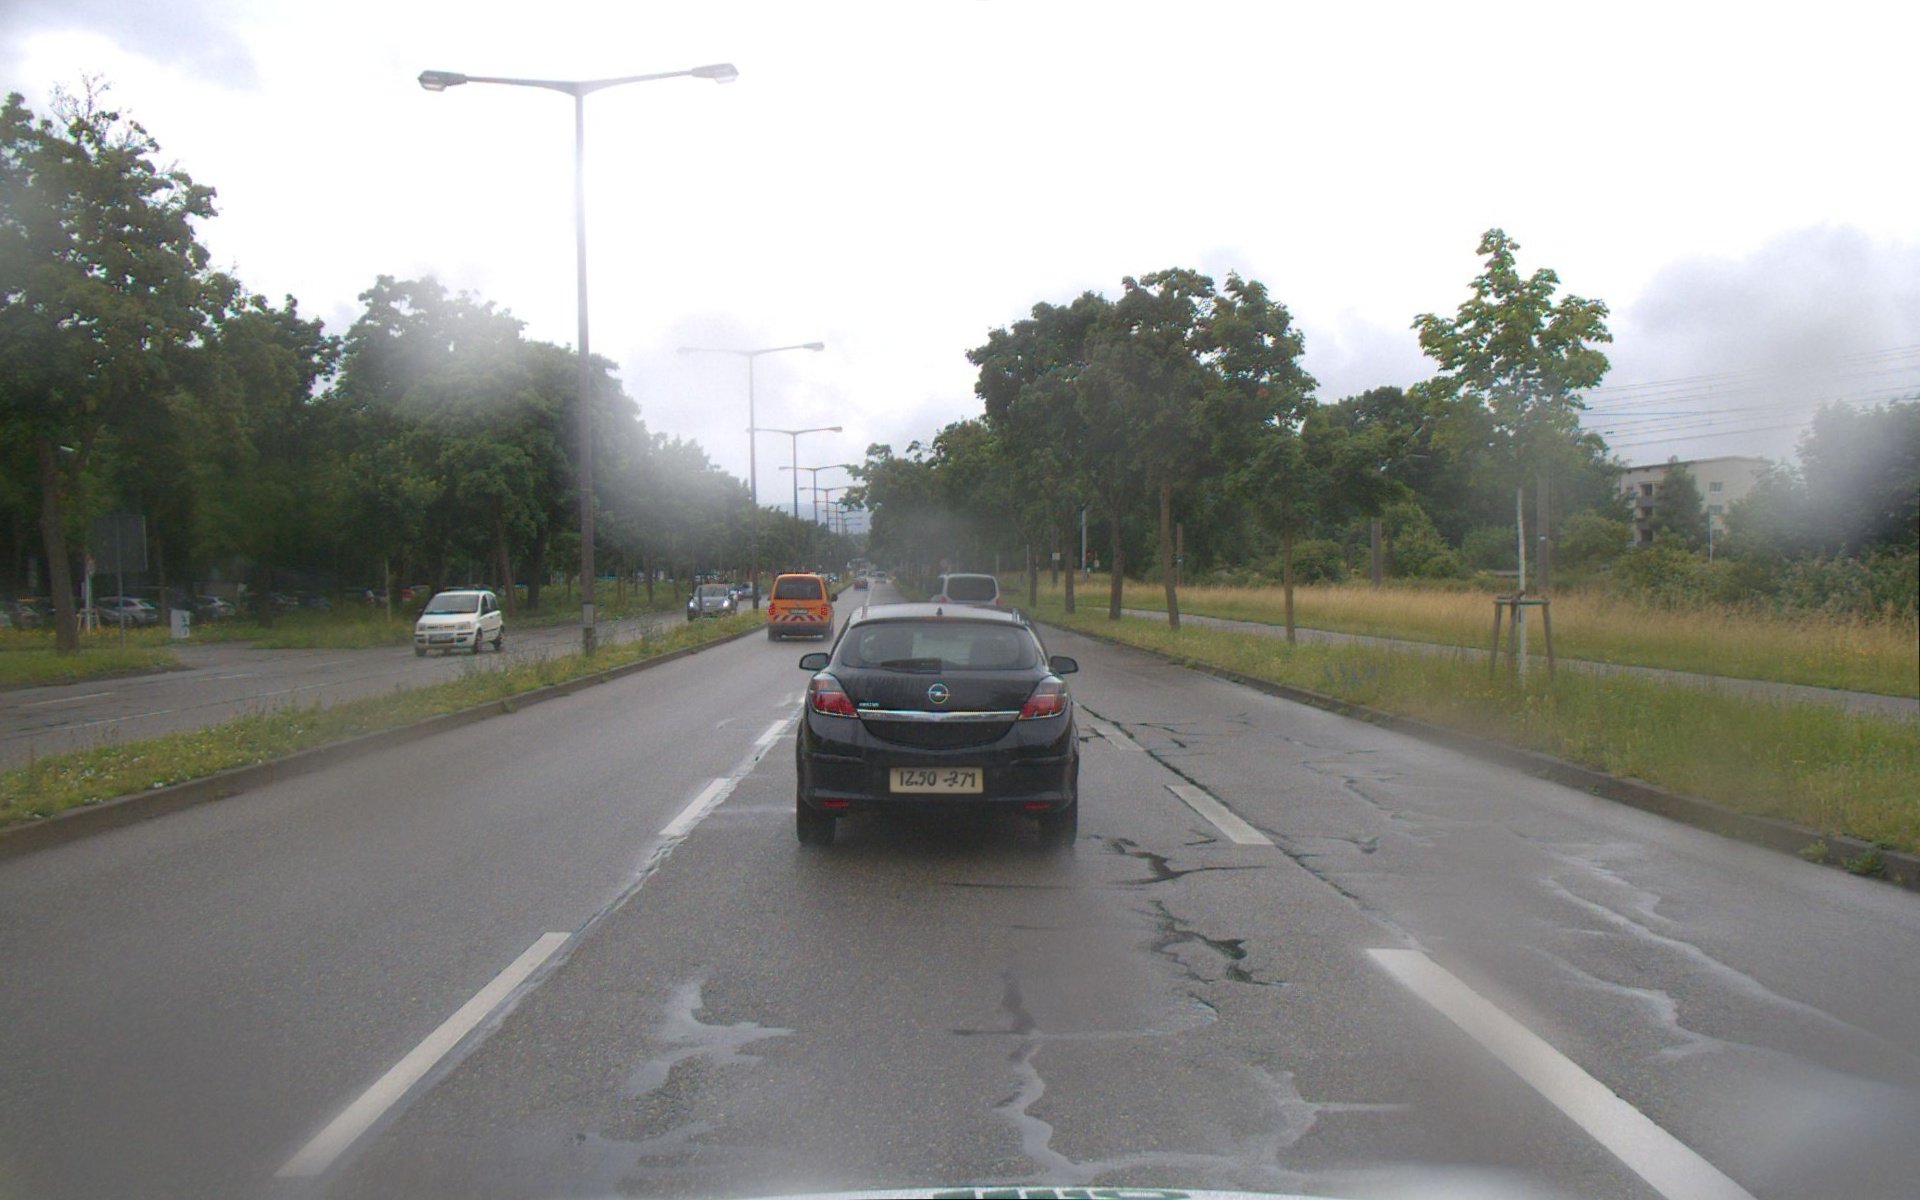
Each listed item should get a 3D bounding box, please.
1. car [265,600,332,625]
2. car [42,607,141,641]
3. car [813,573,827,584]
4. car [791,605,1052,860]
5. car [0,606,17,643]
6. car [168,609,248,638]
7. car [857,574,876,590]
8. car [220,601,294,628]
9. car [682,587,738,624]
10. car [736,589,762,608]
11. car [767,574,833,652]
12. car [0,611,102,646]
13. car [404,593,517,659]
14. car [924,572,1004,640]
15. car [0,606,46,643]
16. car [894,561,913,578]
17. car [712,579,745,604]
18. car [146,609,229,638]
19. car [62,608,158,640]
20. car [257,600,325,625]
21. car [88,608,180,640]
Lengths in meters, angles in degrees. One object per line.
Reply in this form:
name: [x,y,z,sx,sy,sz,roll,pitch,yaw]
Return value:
car: [-41.855,0.775,104.721,3.774,1.477,1.518,-1,0,-17]
car: [-40.723,1.134,77.613,3.762,1.477,1.523,-1,0,-7]
car: [-19.624,-3.042,231.572,1.685,1.556,3.808,-1,0,-1]
car: [-0.176,0.735,10.982,1.433,1.352,3.758,0,1,1]
car: [-40.691,1.027,67.200,3.762,1.477,1.523,-1,0,-7]
car: [-42.016,1.311,92.460,3.762,1.477,1.523,-1,0,-7]
car: [-11.133,-2.139,196.823,1.952,1.912,4.000,0,0,1]
car: [-41.529,0.847,97.772,3.770,1.477,1.519,-1,0,-14]
car: [-10.381,0.198,68.821,1.790,1.475,3.808,-1,0,-1]
car: [-17.133,-0.135,134.187,1.685,1.556,3.808,-1,0,-1]
car: [-4.540,0.346,46.968,1.701,2.054,4.843,2,0,-6]
car: [-41.270,1.280,75.072,3.762,1.477,1.523,-1,0,-7]
car: [-12.669,0.635,42.173,1.648,1.581,4.000,1,0,0]
car: [0.072,0.195,51.134,2.019,2.009,4.603,0,0,-6]
car: [-40.974,1.053,69.868,3.762,1.477,1.523,-1,0,-7]
car: [-7.480,-3.989,218.224,2.465,2.088,5.291,2,1,-2]
car: [-15.382,-0.555,110.073,1.685,1.556,3.808,-1,2,-1]
car: [-42.025,1.283,90.048,3.762,1.477,1.523,-1,0,-7]
car: [-41.131,1.156,80.085,3.762,1.477,1.523,-1,0,-7]
car: [-41.604,0.776,102.920,3.774,1.477,1.518,-1,0,-17]
car: [-41.274,1.196,82.688,3.762,1.477,1.523,-1,0,-7]
